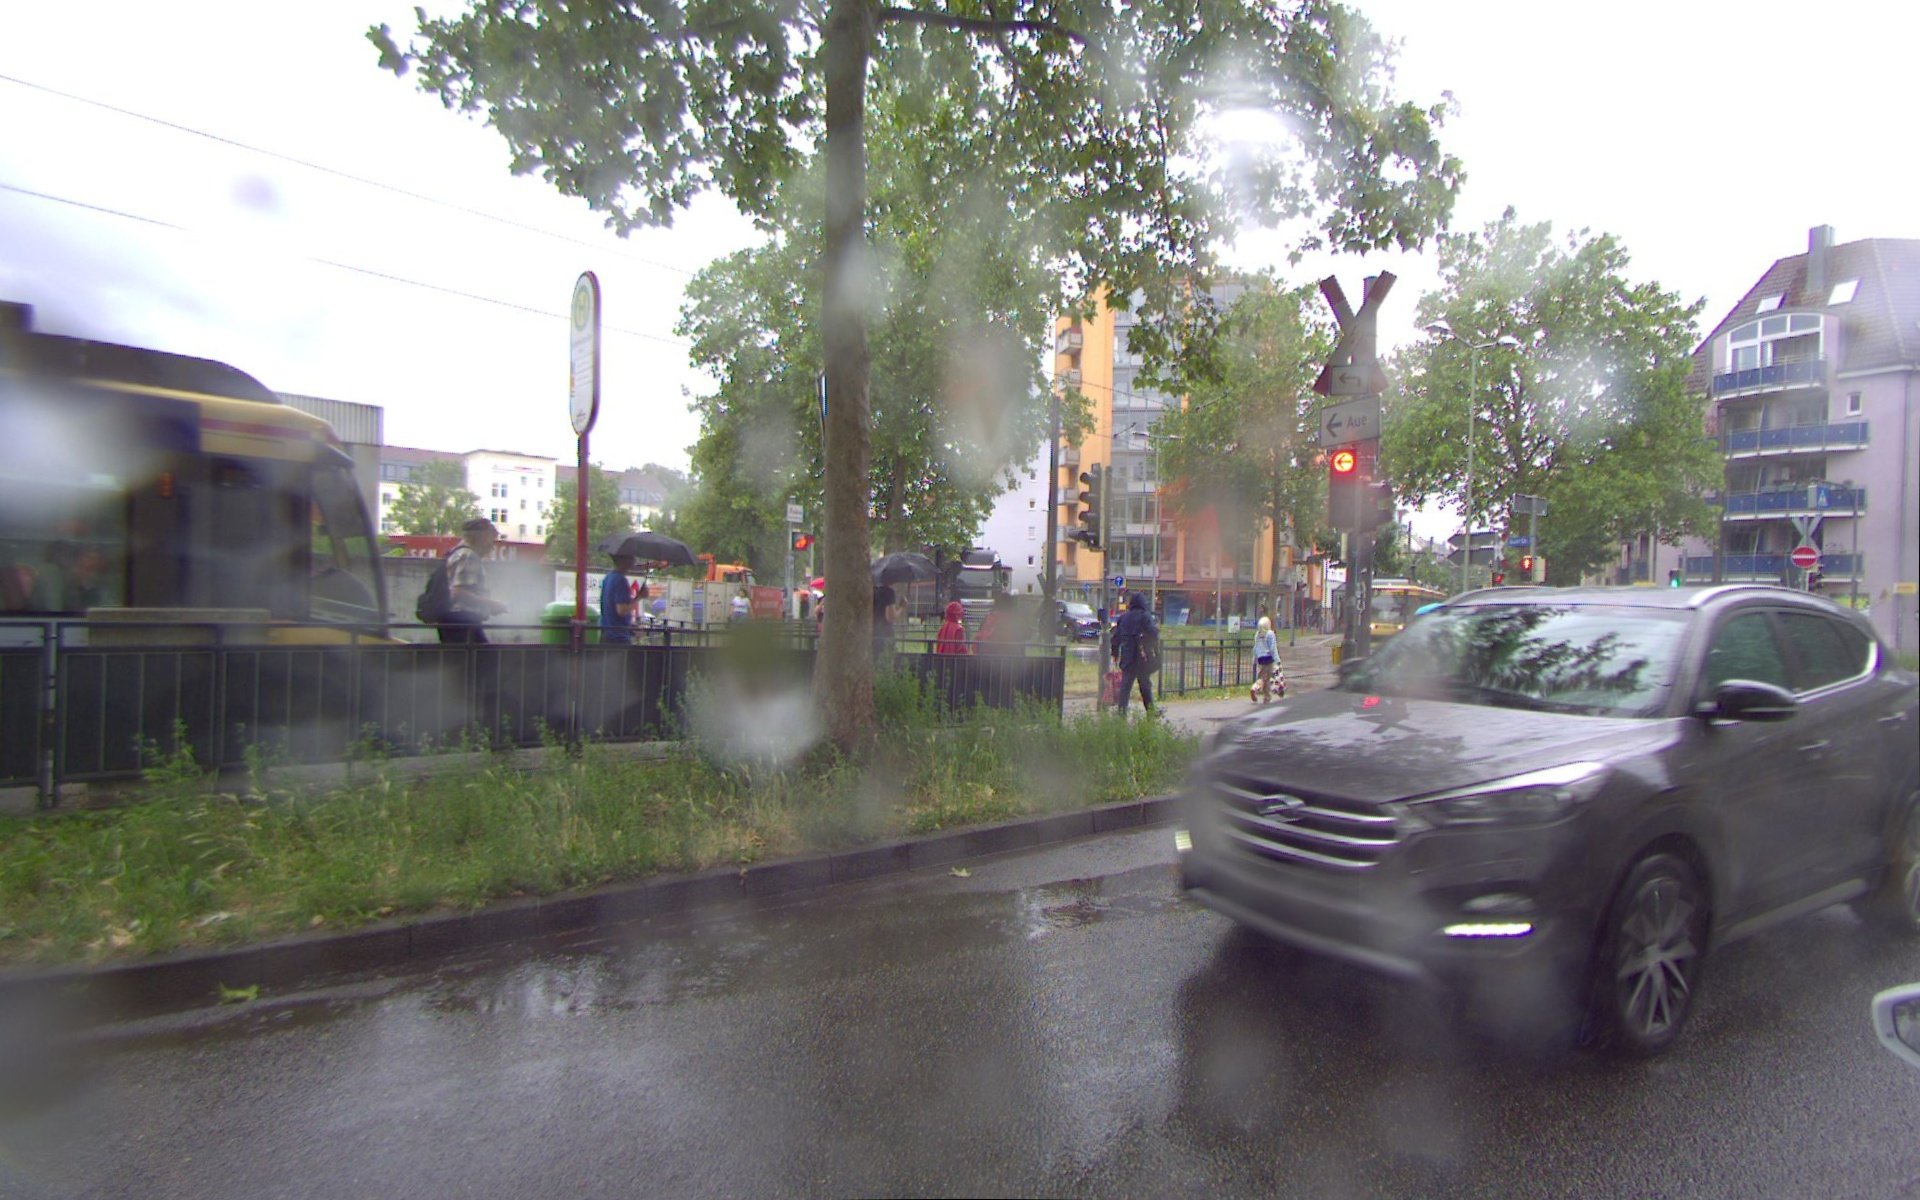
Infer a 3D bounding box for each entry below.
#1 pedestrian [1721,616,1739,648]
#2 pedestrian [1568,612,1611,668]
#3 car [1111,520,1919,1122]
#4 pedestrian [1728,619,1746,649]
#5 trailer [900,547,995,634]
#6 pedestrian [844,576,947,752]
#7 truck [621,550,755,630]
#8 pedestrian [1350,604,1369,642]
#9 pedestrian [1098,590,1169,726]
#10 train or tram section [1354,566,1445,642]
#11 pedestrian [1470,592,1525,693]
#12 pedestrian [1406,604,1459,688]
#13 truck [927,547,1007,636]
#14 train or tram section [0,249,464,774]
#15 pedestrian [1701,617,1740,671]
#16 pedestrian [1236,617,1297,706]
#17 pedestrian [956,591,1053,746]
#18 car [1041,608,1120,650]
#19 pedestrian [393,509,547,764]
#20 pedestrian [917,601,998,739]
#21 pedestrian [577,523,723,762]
[{"bbox_3d":[35.798,1.491,46.710,0.442,1.477,0.555,2,0,-42],"label":"pedestrian"},{"bbox_3d":[18.629,1.177,29.734,0.956,1.622,0.670,2,0,-30],"label":"pedestrian"},{"bbox_3d":[3.066,0.649,4.814,4.552,1.705,1.793,1,1,-32],"label":"car"},{"bbox_3d":[35.500,1.542,45.901,0.551,1.347,0.445,2,0,23],"label":"pedestrian"},{"bbox_3d":[-0.836,-0.436,50.747,2.593,3.899,10.114,2,0,-13],"label":"trailer"},{"bbox_3d":[-0.648,0.627,10.184,0.783,1.705,0.659,-2,0,23],"label":"pedestrian"},{"bbox_3d":[-11.753,-0.391,43.625,5.383,3.205,2.164,2,0,-16],"label":"truck"},{"bbox_3d":[23.472,1.340,59.043,0.871,2.179,0.910,2,0,29],"label":"pedestrian"},{"bbox_3d":[2.279,0.738,13.169,0.823,1.722,0.689,-1,0,17],"label":"pedestrian"},{"bbox_3d":[25.990,0.350,58.692,2.839,3.818,17.211,2,0,30],"label":"train or tram section"},{"bbox_3d":[10.329,0.794,19.305,0.778,1.880,0.679,2,1,38],"label":"pedestrian"},{"bbox_3d":[10.572,1.011,22.447,0.943,1.789,0.951,2,0,31],"label":"pedestrian"},{"bbox_3d":[0.258,-0.363,46.057,2.593,3.842,4.444,2,0,-13],"label":"truck"},{"bbox_3d":[-10.433,-0.705,5.436,13.607,3.593,2.835,2,0,-41],"label":"train or tram section"},{"bbox_3d":[22.318,1.287,29.491,0.785,1.553,0.743,2,0,-41],"label":"pedestrian"},{"bbox_3d":[4.925,0.975,16.138,0.704,1.367,0.650,1,1,-44],"label":"pedestrian"},{"bbox_3d":[0.492,0.725,11.193,0.809,1.646,0.724,0,0,-37],"label":"pedestrian"},{"bbox_3d":[4.794,1.131,40.538,1.585,1.551,4.017,1,1,-19],"label":"car"},{"bbox_3d":[-3.716,0.252,7.608,0.824,1.778,0.857,1,1,-42],"label":"pedestrian"},{"bbox_3d":[-0.035,0.790,11.745,0.654,1.540,0.676,1,0,-39],"label":"pedestrian"},{"bbox_3d":[-2.647,0.337,8.563,0.885,1.889,0.861,1,1,-41],"label":"pedestrian"}]
